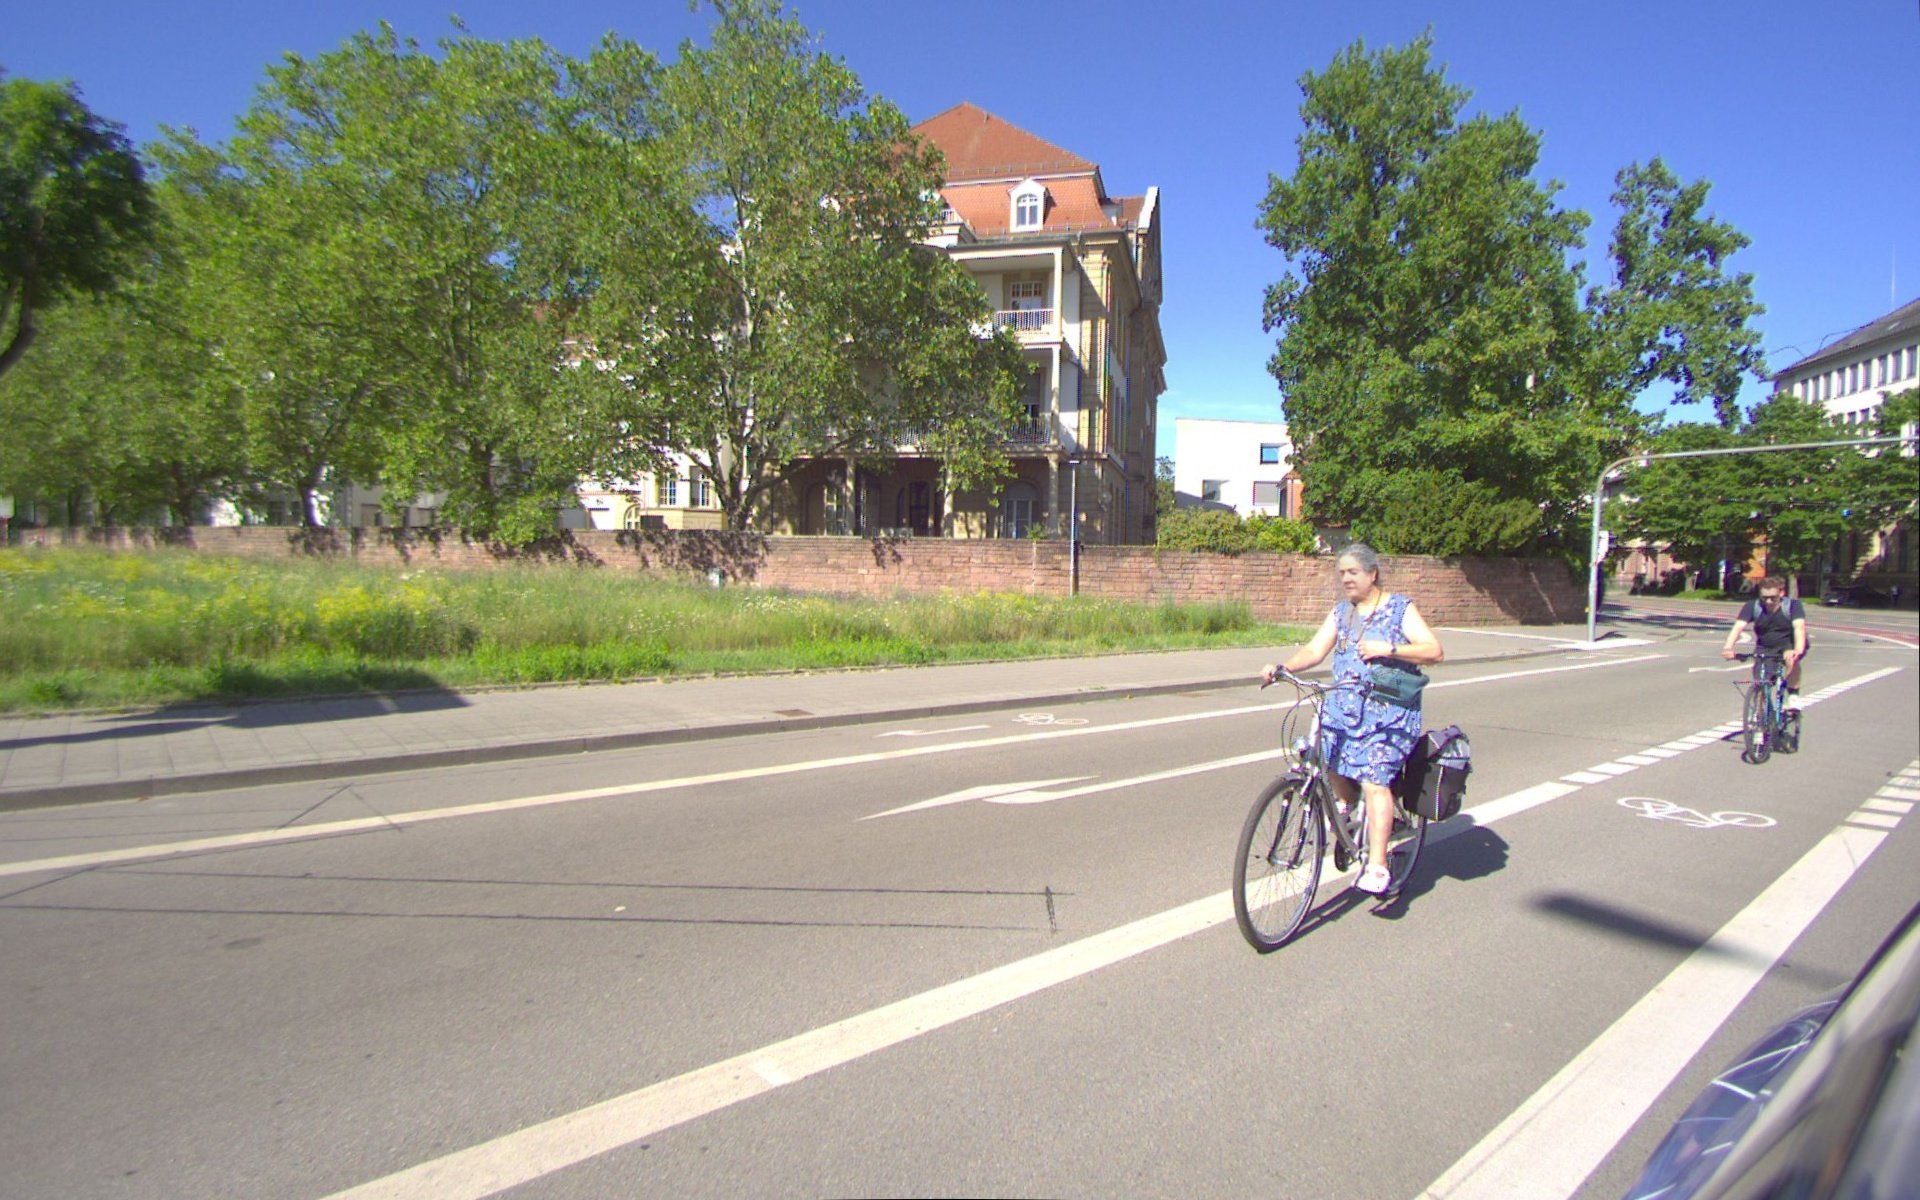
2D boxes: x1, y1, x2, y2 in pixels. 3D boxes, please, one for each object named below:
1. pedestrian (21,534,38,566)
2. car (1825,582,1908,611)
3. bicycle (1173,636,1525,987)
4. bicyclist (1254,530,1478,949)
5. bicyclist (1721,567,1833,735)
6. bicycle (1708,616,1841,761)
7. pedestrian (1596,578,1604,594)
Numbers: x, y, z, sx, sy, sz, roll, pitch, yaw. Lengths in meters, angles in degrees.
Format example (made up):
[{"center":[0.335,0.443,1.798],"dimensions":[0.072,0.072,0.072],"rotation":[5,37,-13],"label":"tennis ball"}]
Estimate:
[{"center":[-49.303,-2.651,53.602],"dimensions":[0.642,1.631,0.557],"rotation":[-1,0,-42],"label":"pedestrian"},{"center":[61.784,-0.231,69.022],"dimensions":[3.731,1.838,1.999],"rotation":[1,2,3],"label":"car"},{"center":[1.818,0.798,4.553],"dimensions":[1.934,1.179,0.642],"rotation":[-1,1,-41],"label":"bicycle"},{"center":[1.826,0.544,4.550],"dimensions":[0.763,1.683,0.642],"rotation":[-1,2,-41],"label":"bicyclist"},{"center":[7.542,0.433,9.337],"dimensions":[0.936,1.462,0.642],"rotation":[0,1,-41],"label":"bicyclist"},{"center":[7.565,0.760,9.368],"dimensions":[1.837,1.180,0.642],"rotation":[0,1,-41],"label":"bicycle"},{"center":[65.250,-1.465,103.143],"dimensions":[0.632,1.631,0.836],"rotation":[0,0,36],"label":"pedestrian"}]
